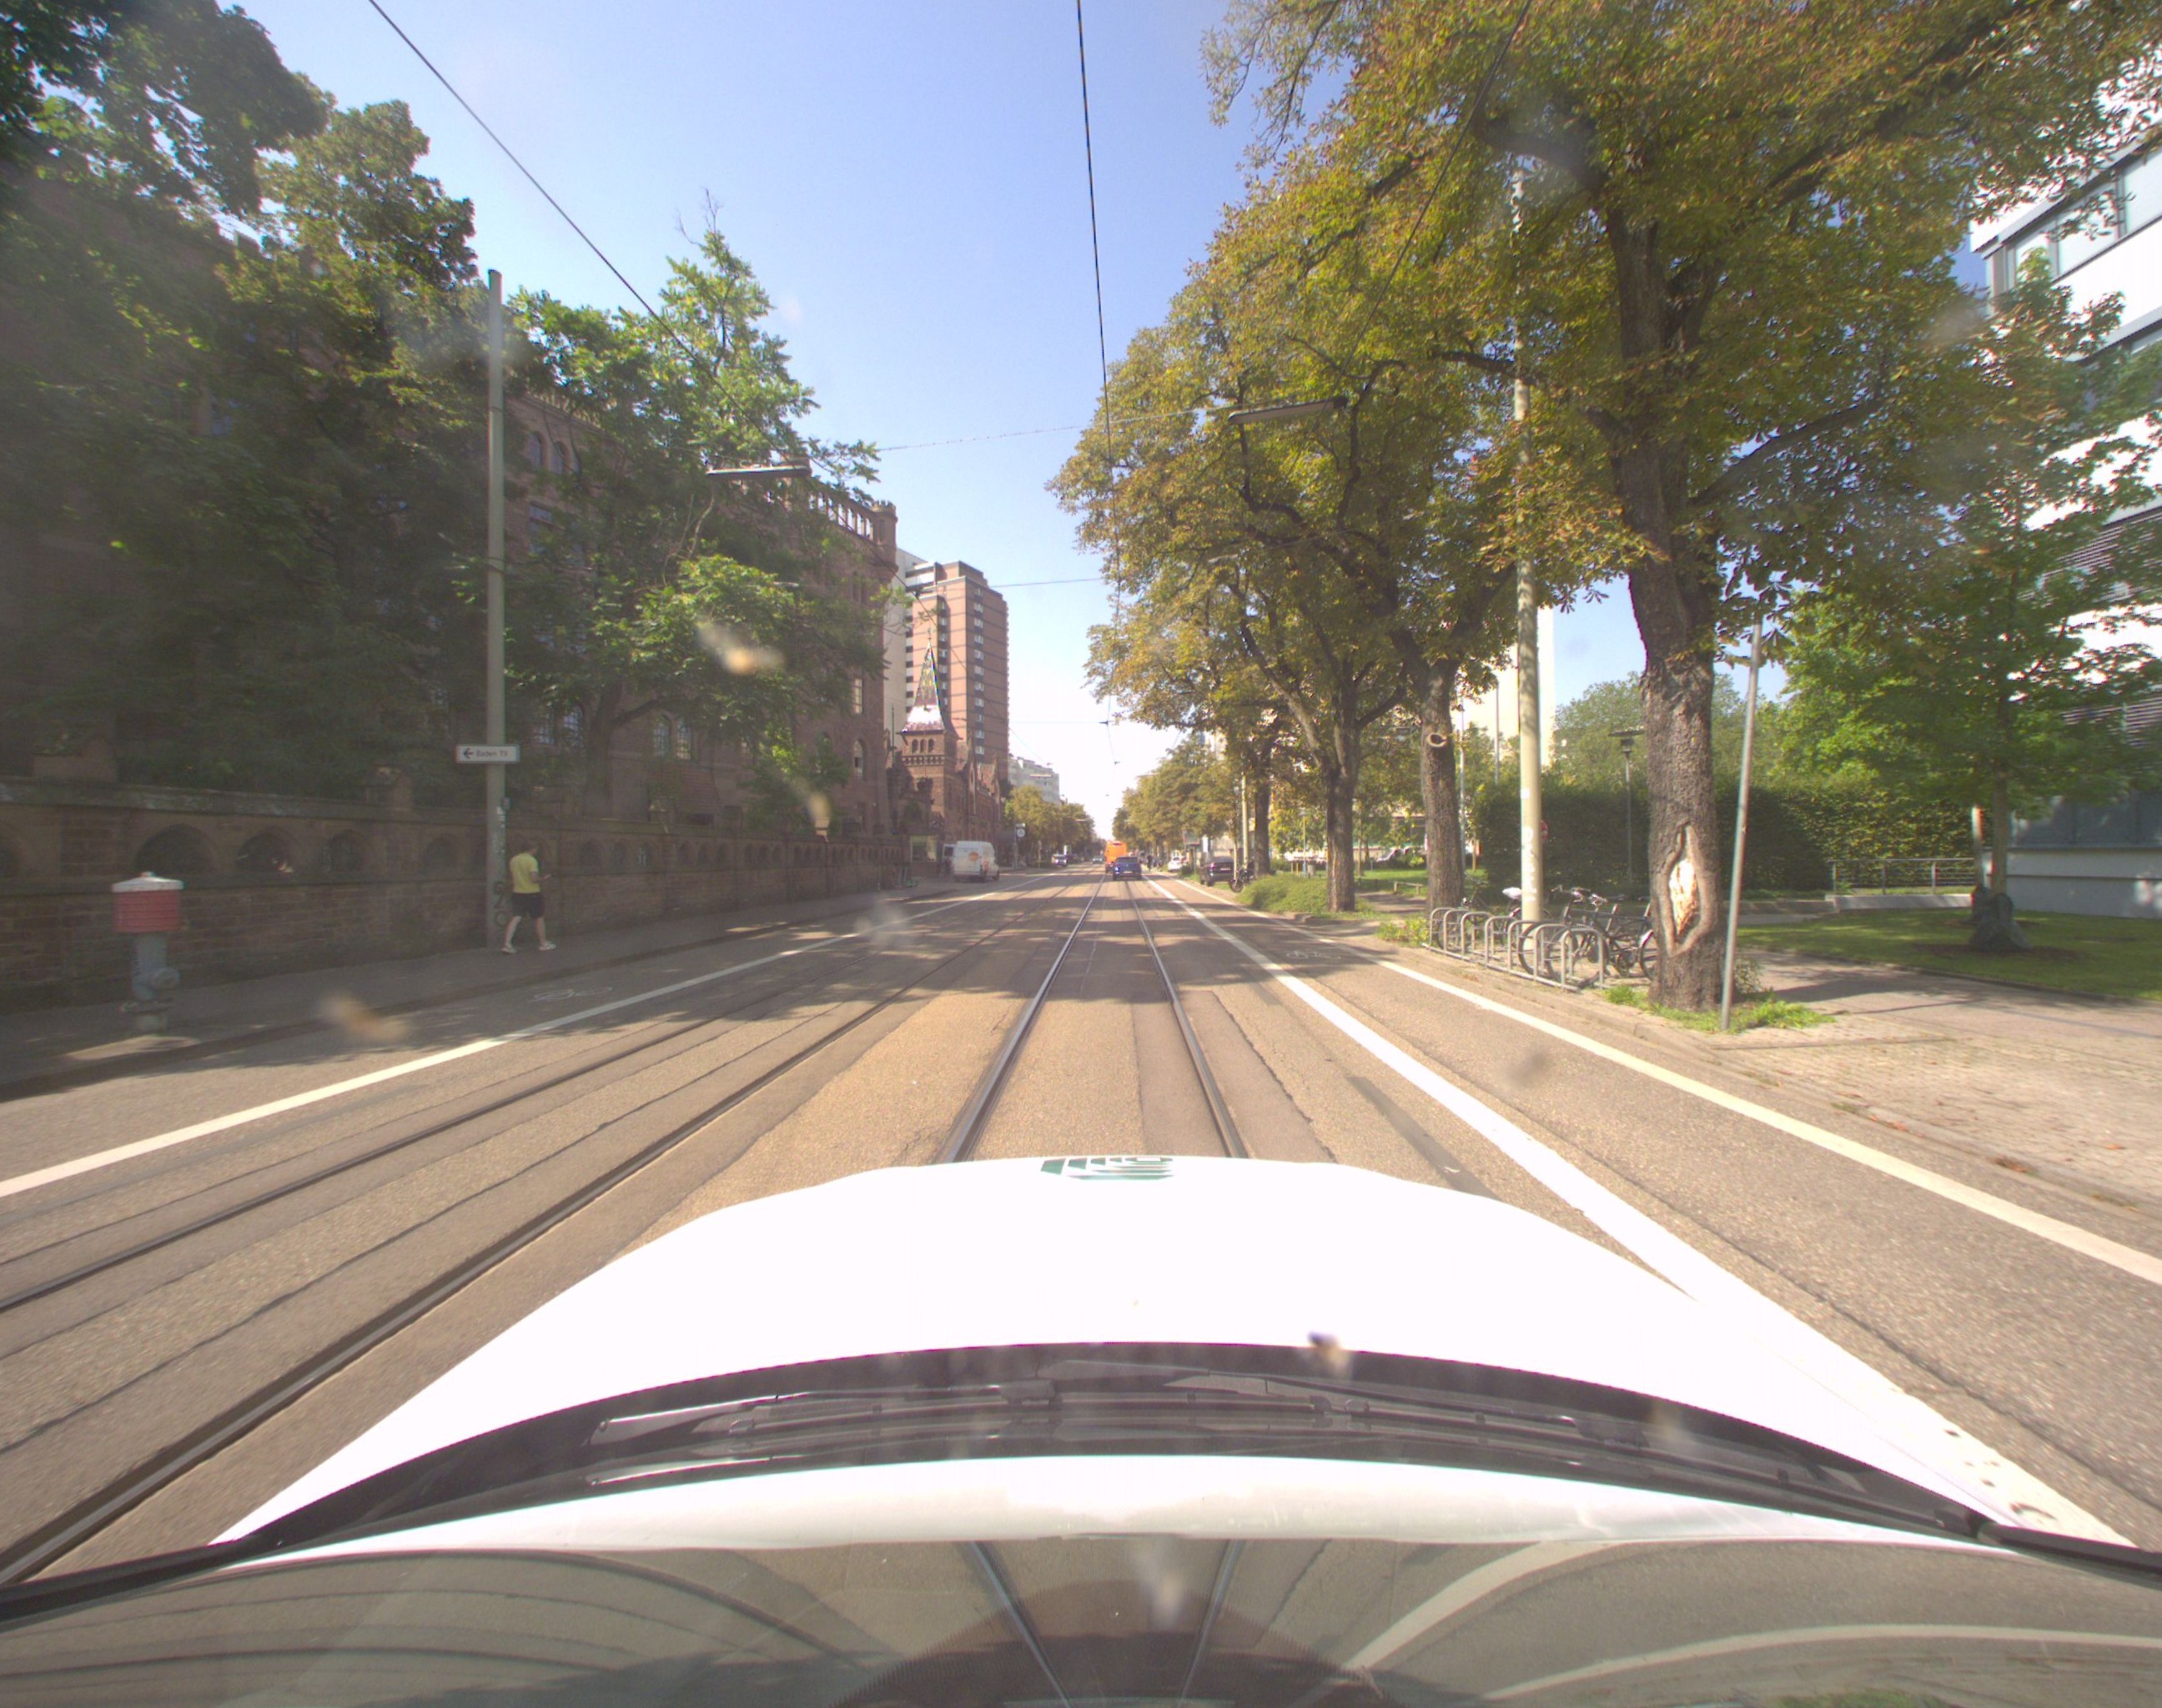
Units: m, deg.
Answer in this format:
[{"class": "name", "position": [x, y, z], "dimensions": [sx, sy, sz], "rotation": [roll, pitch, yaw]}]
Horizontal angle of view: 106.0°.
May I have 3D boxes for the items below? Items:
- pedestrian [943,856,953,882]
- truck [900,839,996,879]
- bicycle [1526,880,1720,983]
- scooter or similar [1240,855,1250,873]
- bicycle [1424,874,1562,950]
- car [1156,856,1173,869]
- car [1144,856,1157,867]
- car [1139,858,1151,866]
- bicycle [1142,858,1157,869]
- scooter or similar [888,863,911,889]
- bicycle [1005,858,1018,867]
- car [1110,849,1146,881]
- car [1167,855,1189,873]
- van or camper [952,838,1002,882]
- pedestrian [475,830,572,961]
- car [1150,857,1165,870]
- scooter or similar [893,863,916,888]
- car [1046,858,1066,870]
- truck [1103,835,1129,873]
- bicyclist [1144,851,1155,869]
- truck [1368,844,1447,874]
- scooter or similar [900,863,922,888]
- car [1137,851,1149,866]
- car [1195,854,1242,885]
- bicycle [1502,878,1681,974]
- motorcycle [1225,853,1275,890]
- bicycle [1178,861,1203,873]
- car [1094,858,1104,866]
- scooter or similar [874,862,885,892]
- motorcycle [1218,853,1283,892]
[{"class": "pedestrian", "position": [-8.307, 0.943, 50.804], "dimensions": [0.495, 1.599, 0.553], "rotation": [0, -1, 3]}, {"class": "truck", "position": [-9.466, 0.307, 58.024], "dimensions": [6.287, 2.538, 2.135], "rotation": [2, 1, 7]}, {"class": "bicycle", "position": [5.980, 0.843, 9.036], "dimensions": [1.765, 1.050, 0.541], "rotation": [-2, 0, 1]}, {"class": "scooter or similar", "position": [11.868, 0.740, 59.003], "dimensions": [0.553, 1.259, 1.820], "rotation": [0, 0, 5]}, {"class": "bicycle", "position": [6.143, 0.854, 12.191], "dimensions": [1.765, 1.050, 0.541], "rotation": [-2, 0, 1]}, {"class": "car", "position": [9.438, 1.013, 92.574], "dimensions": [1.652, 1.408, 4.220], "rotation": [-1, -1, 3]}, {"class": "car", "position": [10.826, 1.136, 127.309], "dimensions": [1.734, 1.668, 4.363], "rotation": [0, 0, 1]}, {"class": "car", "position": [11.601, 1.387, 147.825], "dimensions": [1.901, 1.431, 4.293], "rotation": [0, 0, 1]}, {"class": "bicycle", "position": [6.902, 0.961, 82.306], "dimensions": [1.396, 1.134, 4.002], "rotation": [-1, 0, 2]}, {"class": "scooter or similar", "position": [-8.282, 1.008, 37.244], "dimensions": [0.336, 1.178, 1.185], "rotation": [-1, 0, 28]}, {"class": "bicycle", "position": [-8.617, 1.089, 100.996], "dimensions": [1.447, 1.093, 0.399], "rotation": [3, -1, -2]}, {"class": "car", "position": [2.961, 0.661, 51.716], "dimensions": [2.127, 1.858, 5.571], "rotation": [-1, 0, 3]}, {"class": "car", "position": [8.786, 0.911, 74.193], "dimensions": [1.652, 1.481, 4.220], "rotation": [-1, -1, 3]}, {"class": "van or camper", "position": [-6.709, 0.362, 53.082], "dimensions": [2.103, 2.675, 5.961], "rotation": [0, 0, 4]}, {"class": "pedestrian", "position": [-8.908, 0.636, 13.047], "dimensions": [0.861, 2.014, 0.983], "rotation": [0, 0, 0]}, {"class": "car", "position": [9.765, 1.175, 104.125], "dimensions": [1.736, 1.556, 4.220], "rotation": [-1, -1, 3]}, {"class": "scooter or similar", "position": [-8.319, 1.012, 38.419], "dimensions": [0.336, 1.178, 1.185], "rotation": [-1, 0, 28]}, {"class": "car", "position": [-3.705, 1.476, 121.228], "dimensions": [1.753, 1.796, 3.972], "rotation": [0, 0, -21]}, {"class": "truck", "position": [3.052, -0.017, 71.397], "dimensions": [2.127, 3.124, 6.088], "rotation": [-1, 0, 3]}, {"class": "bicyclist", "position": [6.933, 0.579, 82.285], "dimensions": [1.028, 1.812, 1.017], "rotation": [0, 0, 2]}, {"class": "truck", "position": [26.515, 0.392, 66.311], "dimensions": [5.483, 2.326, 2.301], "rotation": [0, 0, 3]}, {"class": "scooter or similar", "position": [-8.254, 1.016, 39.552], "dimensions": [0.336, 1.178, 1.185], "rotation": [-1, 0, 28]}, {"class": "car", "position": [12.055, 0.827, 158.420], "dimensions": [1.986, 2.755, 5.763], "rotation": [0, 0, 1]}, {"class": "car", "position": [7.264, 0.789, 43.328], "dimensions": [1.749, 1.515, 4.610], "rotation": [-2, 0, 1]}, {"class": "bicycle", "position": [6.053, 0.845, 9.712], "dimensions": [1.765, 1.050, 0.541], "rotation": [-2, 0, 1]}, {"class": "motorcycle", "position": [7.108, 0.721, 34.358], "dimensions": [0.853, 1.516, 2.437], "rotation": [0, 0, -22]}, {"class": "bicycle", "position": [8.268, 0.981, 61.436], "dimensions": [1.805, 0.958, 0.558], "rotation": [0, 0, 2]}, {"class": "car", "position": [3.680, 1.647, 164.008], "dimensions": [1.839, 1.492, 4.871], "rotation": [-2, 0, 3]}, {"class": "scooter or similar", "position": [-8.141, 0.901, 32.934], "dimensions": [0.421, 1.178, 1.311], "rotation": [0, 0, -13]}, {"class": "motorcycle", "position": [6.768, 0.717, 32.667], "dimensions": [2.424, 1.516, 0.858], "rotation": [-1, -1, 41]}]
